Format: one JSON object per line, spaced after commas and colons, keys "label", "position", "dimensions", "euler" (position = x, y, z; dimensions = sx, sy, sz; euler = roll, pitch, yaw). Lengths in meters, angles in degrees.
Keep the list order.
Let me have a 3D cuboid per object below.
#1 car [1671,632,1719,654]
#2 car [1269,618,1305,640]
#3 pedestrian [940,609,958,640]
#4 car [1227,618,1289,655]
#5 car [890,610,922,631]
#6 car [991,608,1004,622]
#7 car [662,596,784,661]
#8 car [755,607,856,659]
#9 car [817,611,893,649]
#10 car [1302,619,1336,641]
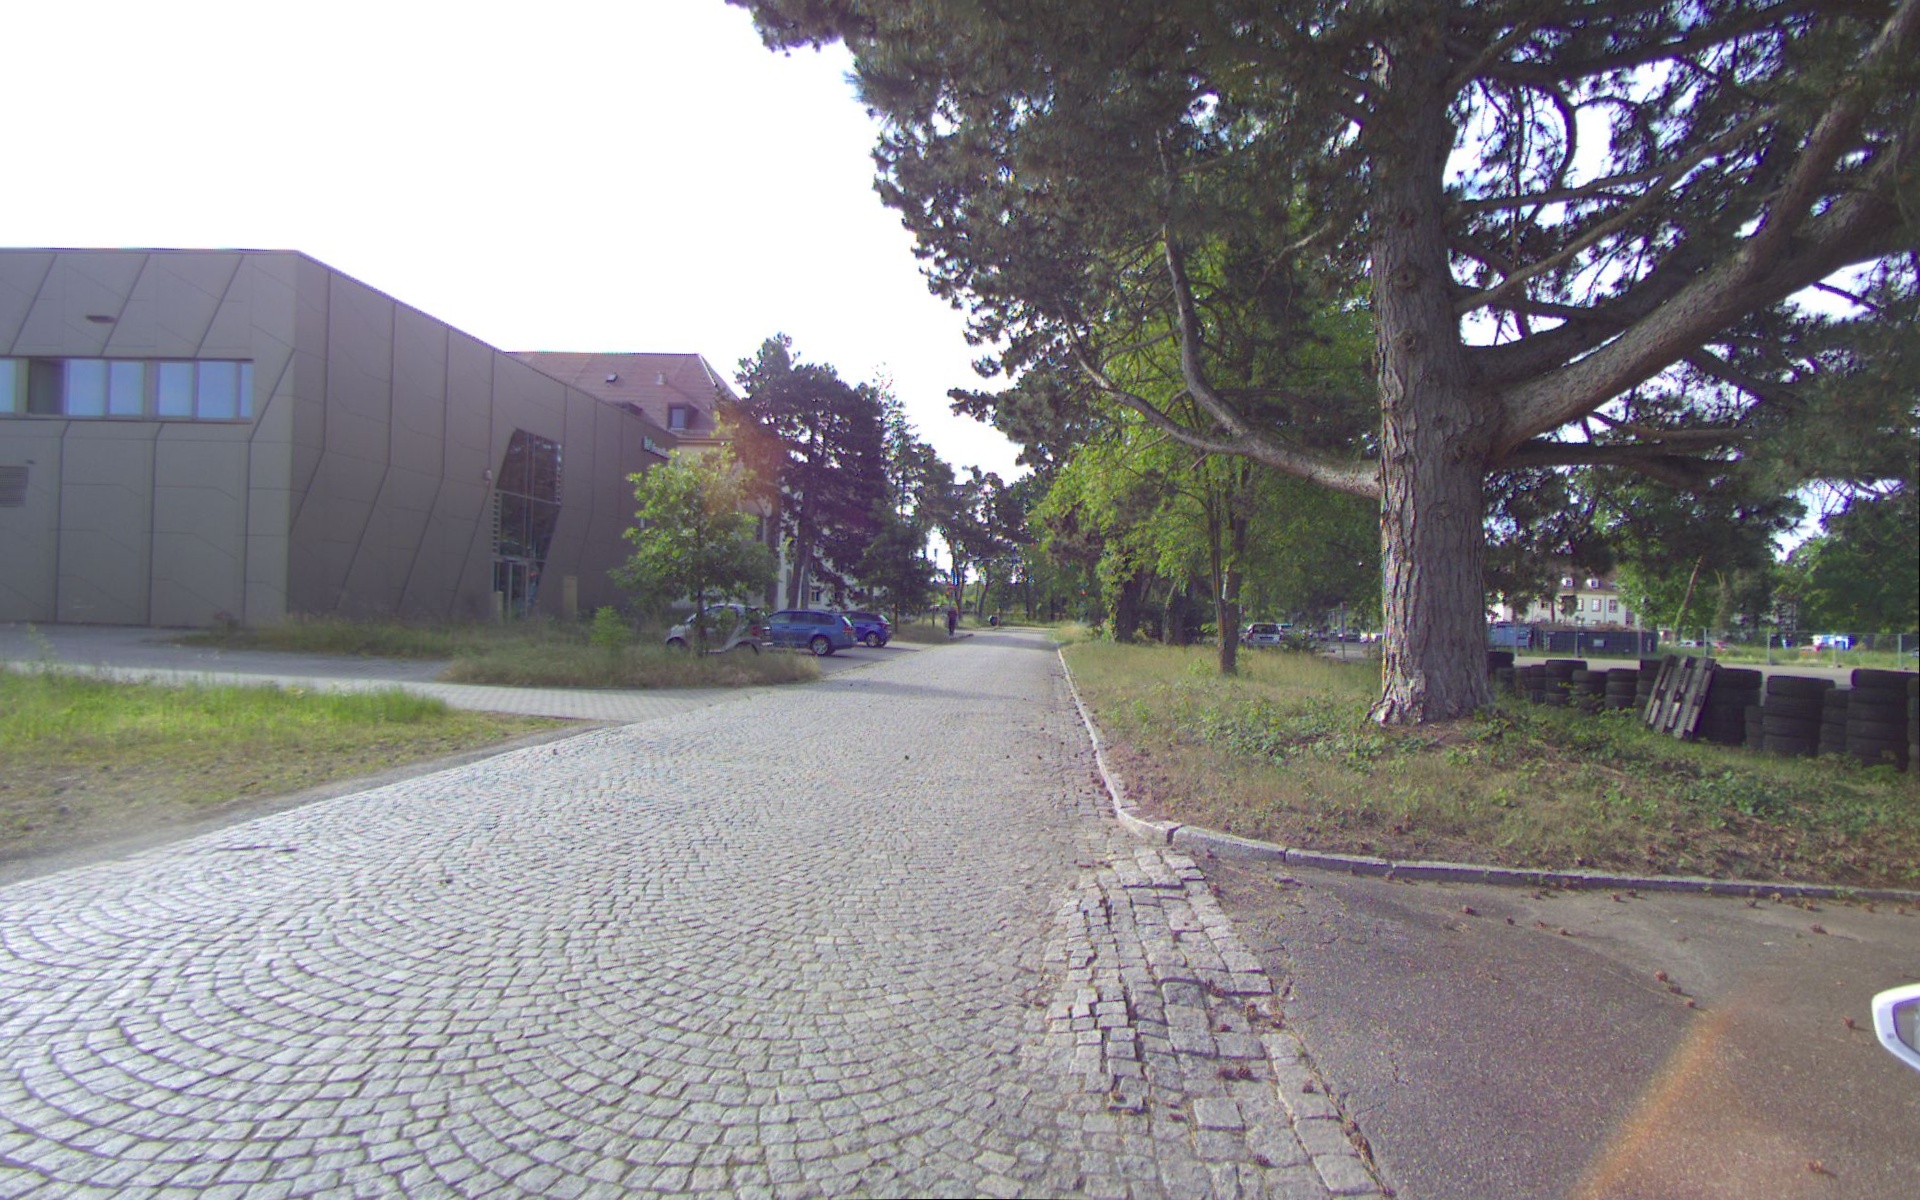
{"label": "car", "position": [66.583, 3.863, 91.055], "dimensions": [1.959, 1.773, 4.003], "euler": [2, -1, 10]}
{"label": "car", "position": [26.911, 2.363, 82.852], "dimensions": [1.960, 1.639, 4.002], "euler": [2, -1, 5]}
{"label": "pedestrian", "position": [-0.668, 1.497, 61.031], "dimensions": [0.941, 1.868, 0.954], "euler": [2, 0, -9]}
{"label": "car", "position": [13.706, 1.659, 46.421], "dimensions": [1.854, 1.561, 4.002], "euler": [2, -1, 4]}
{"label": "car", "position": [-4.381, 1.665, 82.114], "dimensions": [1.960, 1.639, 4.002], "euler": [2, -1, 5]}
{"label": "car", "position": [5.530, 2.215, 148.779], "dimensions": [1.669, 2.040, 4.002], "euler": [2, -1, 5]}
{"label": "car", "position": [-6.189, 0.737, 26.365], "dimensions": [2.713, 1.570, 1.426], "euler": [2, -1, 9]}
{"label": "car", "position": [-5.118, 1.078, 33.515], "dimensions": [3.033, 1.476, 1.492], "euler": [4, -1, 0]}
{"label": "car", "position": [-4.458, 1.267, 42.892], "dimensions": [3.033, 1.469, 1.492], "euler": [2, -1, -1]}
{"label": "car", "position": [29.573, 2.460, 82.869], "dimensions": [1.790, 1.639, 4.003], "euler": [2, -1, 7]}
